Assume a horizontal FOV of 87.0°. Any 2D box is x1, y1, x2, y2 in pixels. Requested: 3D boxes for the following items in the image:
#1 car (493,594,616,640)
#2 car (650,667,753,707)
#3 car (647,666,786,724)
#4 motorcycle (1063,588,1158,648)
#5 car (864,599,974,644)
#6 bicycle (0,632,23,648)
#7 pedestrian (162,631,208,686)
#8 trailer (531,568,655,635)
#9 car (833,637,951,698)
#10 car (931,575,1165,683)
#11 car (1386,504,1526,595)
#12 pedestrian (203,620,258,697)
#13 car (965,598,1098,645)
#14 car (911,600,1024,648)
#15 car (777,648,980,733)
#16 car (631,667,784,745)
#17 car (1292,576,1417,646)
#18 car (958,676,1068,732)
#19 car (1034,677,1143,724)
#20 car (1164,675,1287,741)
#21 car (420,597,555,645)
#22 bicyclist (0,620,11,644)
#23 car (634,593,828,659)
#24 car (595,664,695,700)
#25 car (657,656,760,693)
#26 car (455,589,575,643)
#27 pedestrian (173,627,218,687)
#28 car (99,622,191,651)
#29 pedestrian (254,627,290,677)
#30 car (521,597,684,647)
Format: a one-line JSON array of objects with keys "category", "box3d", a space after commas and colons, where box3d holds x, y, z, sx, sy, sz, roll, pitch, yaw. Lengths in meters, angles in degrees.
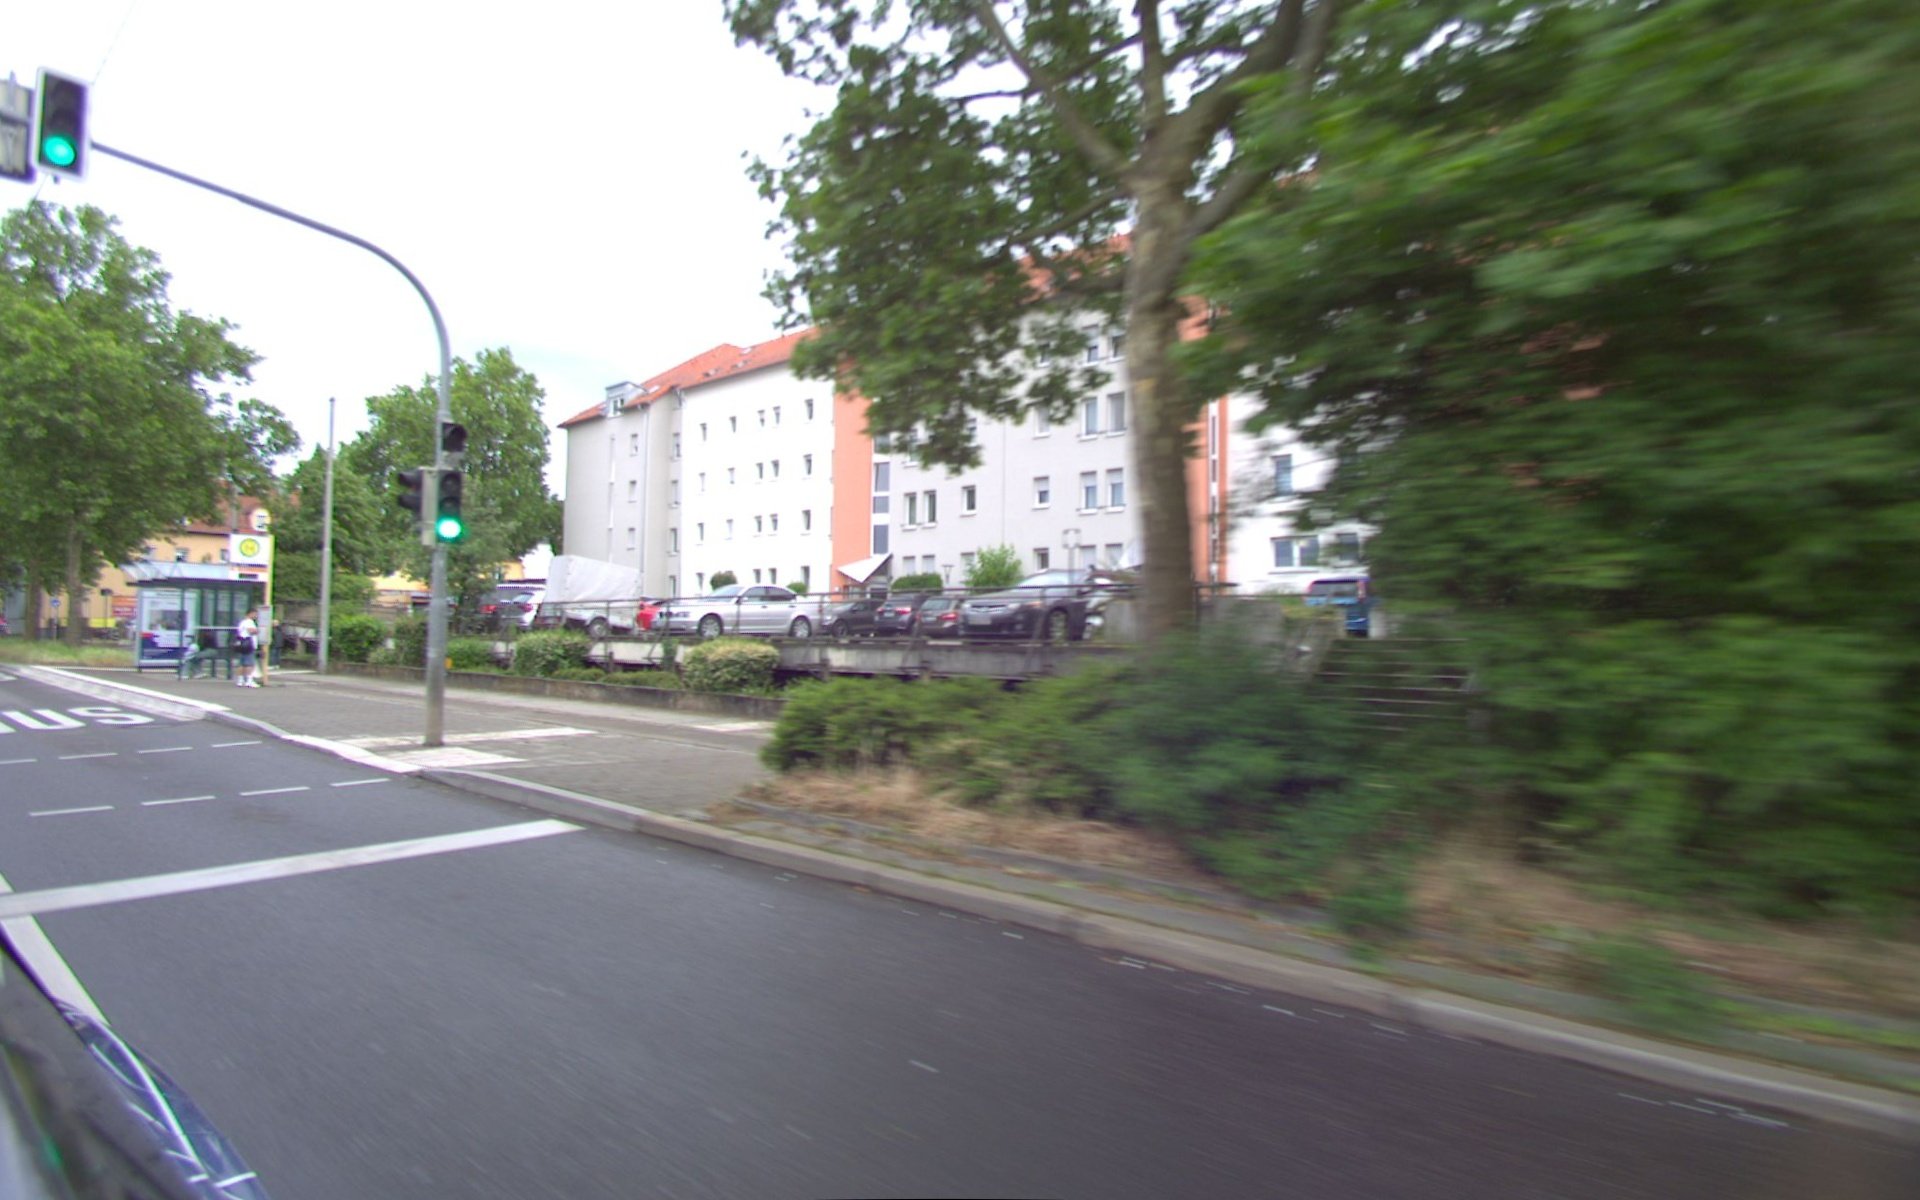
[{"category": "car", "box3d": [-12.035, 0.475, 30.127, 1.436, 1.279, 3.098, 1, 0, 40]}, {"category": "car", "box3d": [-11.416, 3.808, 44.862, 2.065, 1.407, 3.943, 0, 0, 43]}, {"category": "car", "box3d": [-7.333, 2.830, 30.762, 1.589, 1.415, 3.928, 1, 0, 40]}, {"category": "motorcycle", "box3d": [2.452, 0.282, 16.359, 0.568, 0.920, 1.931, 1, 0, 41]}, {"category": "car", "box3d": [-1.340, 0.686, 33.803, 1.718, 1.415, 3.480, 1, 0, 42]}, {"category": "bicycle", "box3d": [-63.268, 2.631, 66.683, 2.226, 1.003, 0.558, 1, 0, -20]}, {"category": "pedestrian", "box3d": [-19.523, 1.477, 25.490, 0.641, 1.327, 0.766, 1, -3, 44]}, {"category": "trailer", "box3d": [-9.578, 0.056, 26.472, 1.479, 1.658, 2.676, 0, -1, 41]}, {"category": "car", "box3d": [-2.354, 2.328, 35.604, 1.943, 2.029, 3.863, -1, -3, 44]}, {"category": "car", "box3d": [1.706, 0.459, 18.202, 1.998, 1.684, 4.499, 1, 0, 40]}, {"category": "car", "box3d": [9.968, -0.924, 20.203, 1.717, 1.613, 3.772, 1, 0, 39]}, {"category": "pedestrian", "box3d": [-15.921, 1.275, 22.091, 0.607, 1.610, 0.733, 1, -5, 44]}, {"category": "car", "box3d": [2.168, 0.617, 29.894, 1.797, 1.305, 3.942, -2, -1, 44]}, {"category": "car", "box3d": [0.276, 0.717, 31.950, 1.718, 1.415, 3.480, 1, 0, 42]}, {"category": "car", "box3d": [-1.643, 1.850, 21.755, 1.859, 1.435, 4.311, 1, 0, 40]}, {"category": "car", "box3d": [-6.429, 2.643, 26.021, 1.704, 1.710, 3.473, -1, -2, 40]}, {"category": "car", "box3d": [9.406, 0.230, 24.000, 1.717, 1.523, 3.772, 1, 0, 39]}, {"category": "car", "box3d": [1.749, 3.303, 32.591, 1.718, 1.415, 3.480, 1, 0, 42]}, {"category": "car", "box3d": [3.638, 2.777, 28.449, 3.161, 1.091, 1.378, 2, -2, -44]}, {"category": "car", "box3d": [6.988, 2.768, 26.492, 1.718, 1.415, 3.479, -1, -2, 42]}, {"category": "car", "box3d": [-15.681, 0.663, 33.735, 1.894, 1.509, 3.619, 1, 0, 37]}, {"category": "bicyclist", "box3d": [-63.246, 2.094, 66.643, 0.802, 1.564, 0.838, 1, 0, -20]}, {"category": "car", "box3d": [-5.409, 0.582, 24.333, 1.859, 1.435, 4.311, 1, 0, 40]}, {"category": "car", "box3d": [-14.637, 3.775, 47.117, 2.065, 1.407, 3.943, -1, -2, 43]}, {"category": "car", "box3d": [-10.896, 3.222, 44.035, 1.887, 1.407, 3.943, -1, -2, 43]}, {"category": "car", "box3d": [-13.724, 0.471, 31.316, 1.436, 1.554, 3.098, 1, 0, 40]}, {"category": "pedestrian", "box3d": [-18.878, 1.414, 24.989, 0.641, 1.429, 0.680, 1, -4, 44]}, {"category": "car", "box3d": [-50.587, 2.226, 62.877, 1.980, 1.550, 4.166, 1, 1, 39]}, {"category": "pedestrian", "box3d": [-23.032, 1.716, 33.864, 0.833, 1.623, 0.748, 1, 0, 36]}, {"category": "car", "box3d": [-10.174, 0.582, 29.003, 1.809, 1.312, 4.046, 1, 0, 40]}]
